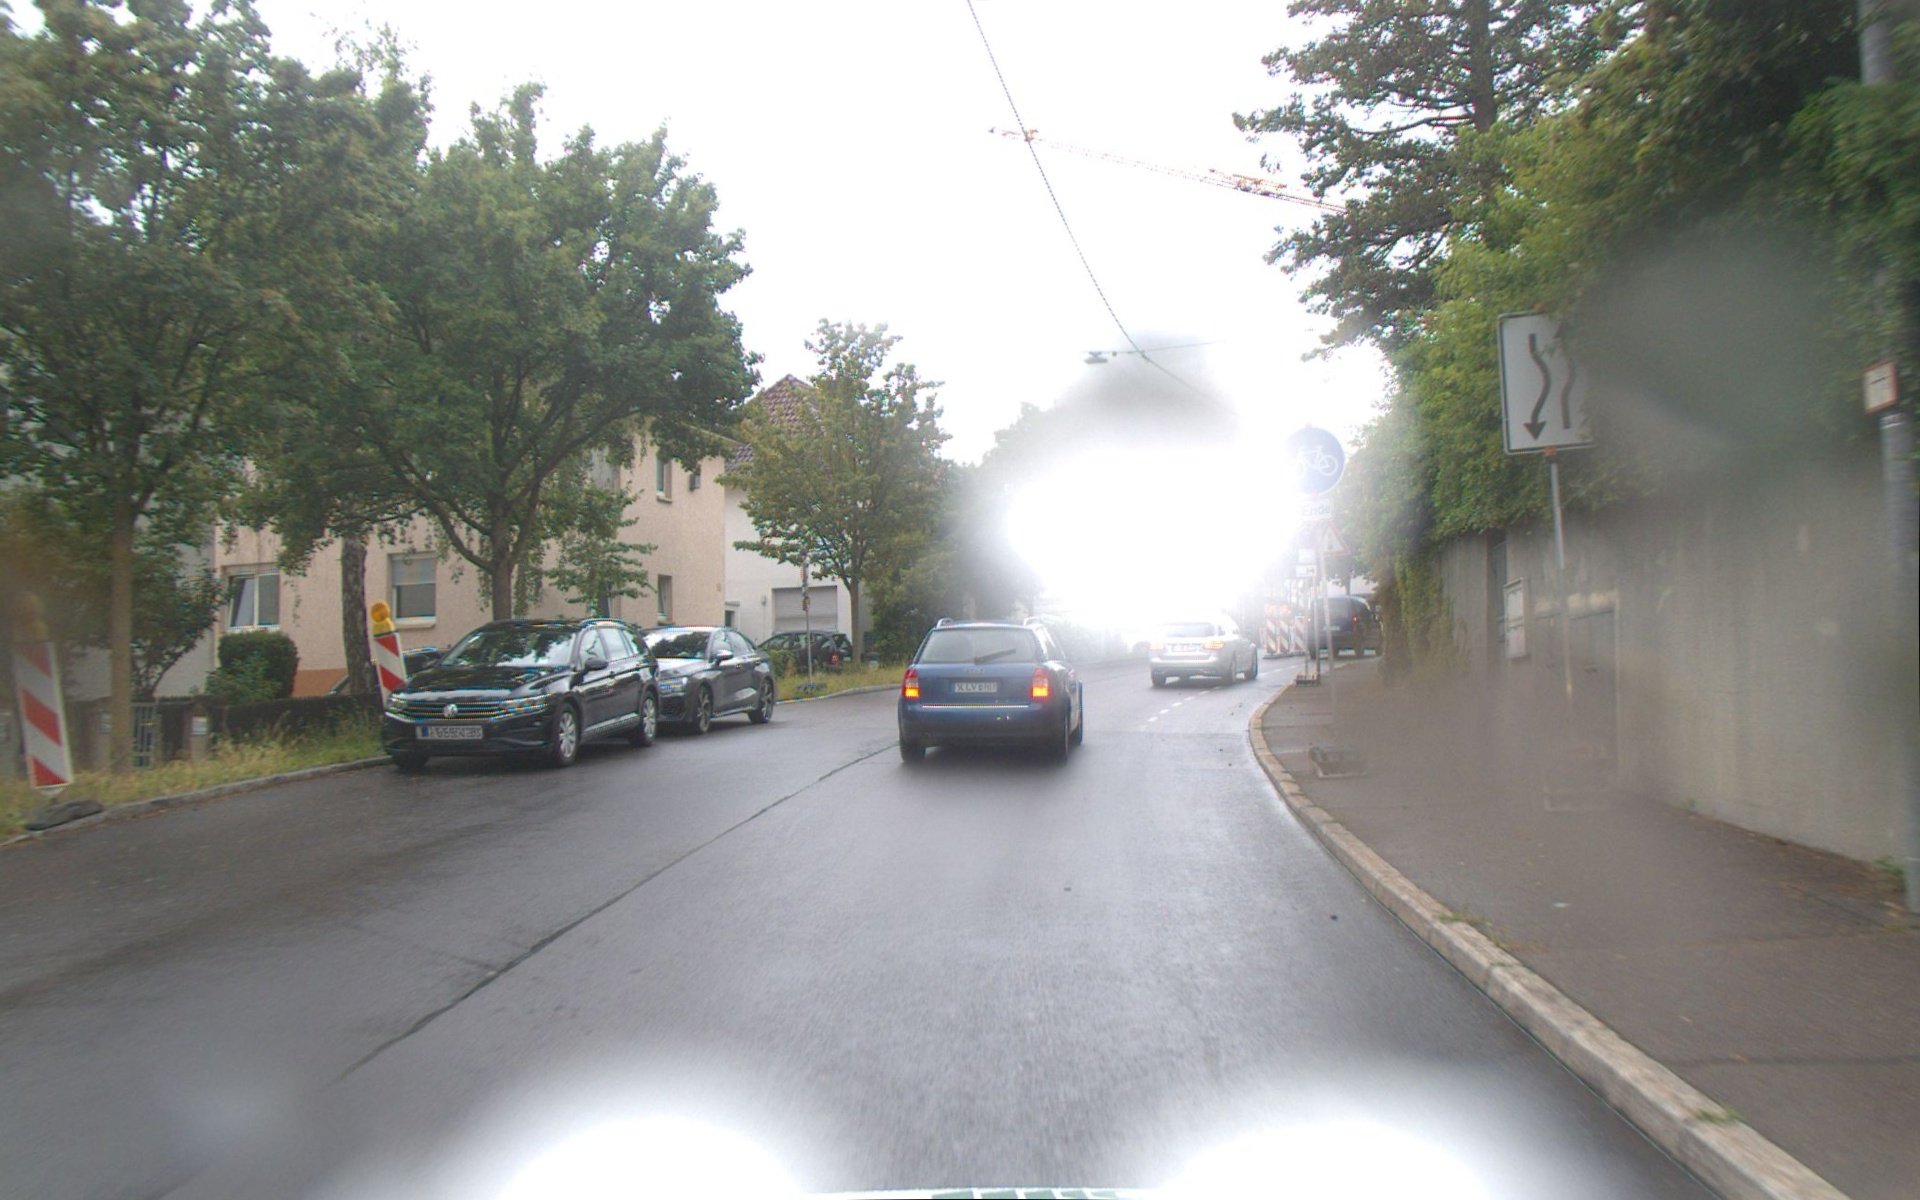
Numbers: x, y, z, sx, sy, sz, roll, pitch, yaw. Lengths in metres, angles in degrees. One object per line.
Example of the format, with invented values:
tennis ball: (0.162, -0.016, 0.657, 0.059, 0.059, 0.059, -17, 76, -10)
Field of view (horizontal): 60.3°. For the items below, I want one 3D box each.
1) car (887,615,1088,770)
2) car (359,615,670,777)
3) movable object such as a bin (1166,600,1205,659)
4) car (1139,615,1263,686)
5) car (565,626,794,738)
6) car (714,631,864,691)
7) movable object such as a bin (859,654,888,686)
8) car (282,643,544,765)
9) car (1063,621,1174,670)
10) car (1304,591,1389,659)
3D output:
car: (0.406, 0.923, 17.752, 1.739, 1.464, 4.003, 0, -1, 7)
car: (-4.573, 0.943, 17.731, 1.695, 1.510, 4.533, -1, -1, 6)
movable object such as a bin: (10.102, 1.323, 74.054, 1.286, 2.549, 1.386, -4, -2, 24)
car: (5.306, 1.057, 35.971, 1.869, 1.413, 4.352, -2, -1, 19)
car: (-3.798, 1.079, 23.234, 1.670, 1.407, 4.533, -1, -1, 11)
car: (-4.925, 1.735, 47.742, 3.859, 1.570, 1.864, 1, 0, 21)
movable object such as a bin: (-2.570, 2.069, 49.078, 0.655, 0.937, 0.592, -1, -1, 21)
car: (-9.968, 1.894, 30.178, 4.155, 1.530, 1.914, -10, -4, 21)
car: (6.614, 1.910, 69.142, 4.112, 1.632, 1.950, -7, -4, 22)
car: (11.820, 0.750, 50.409, 1.696, 1.928, 4.052, -2, -1, 24)
